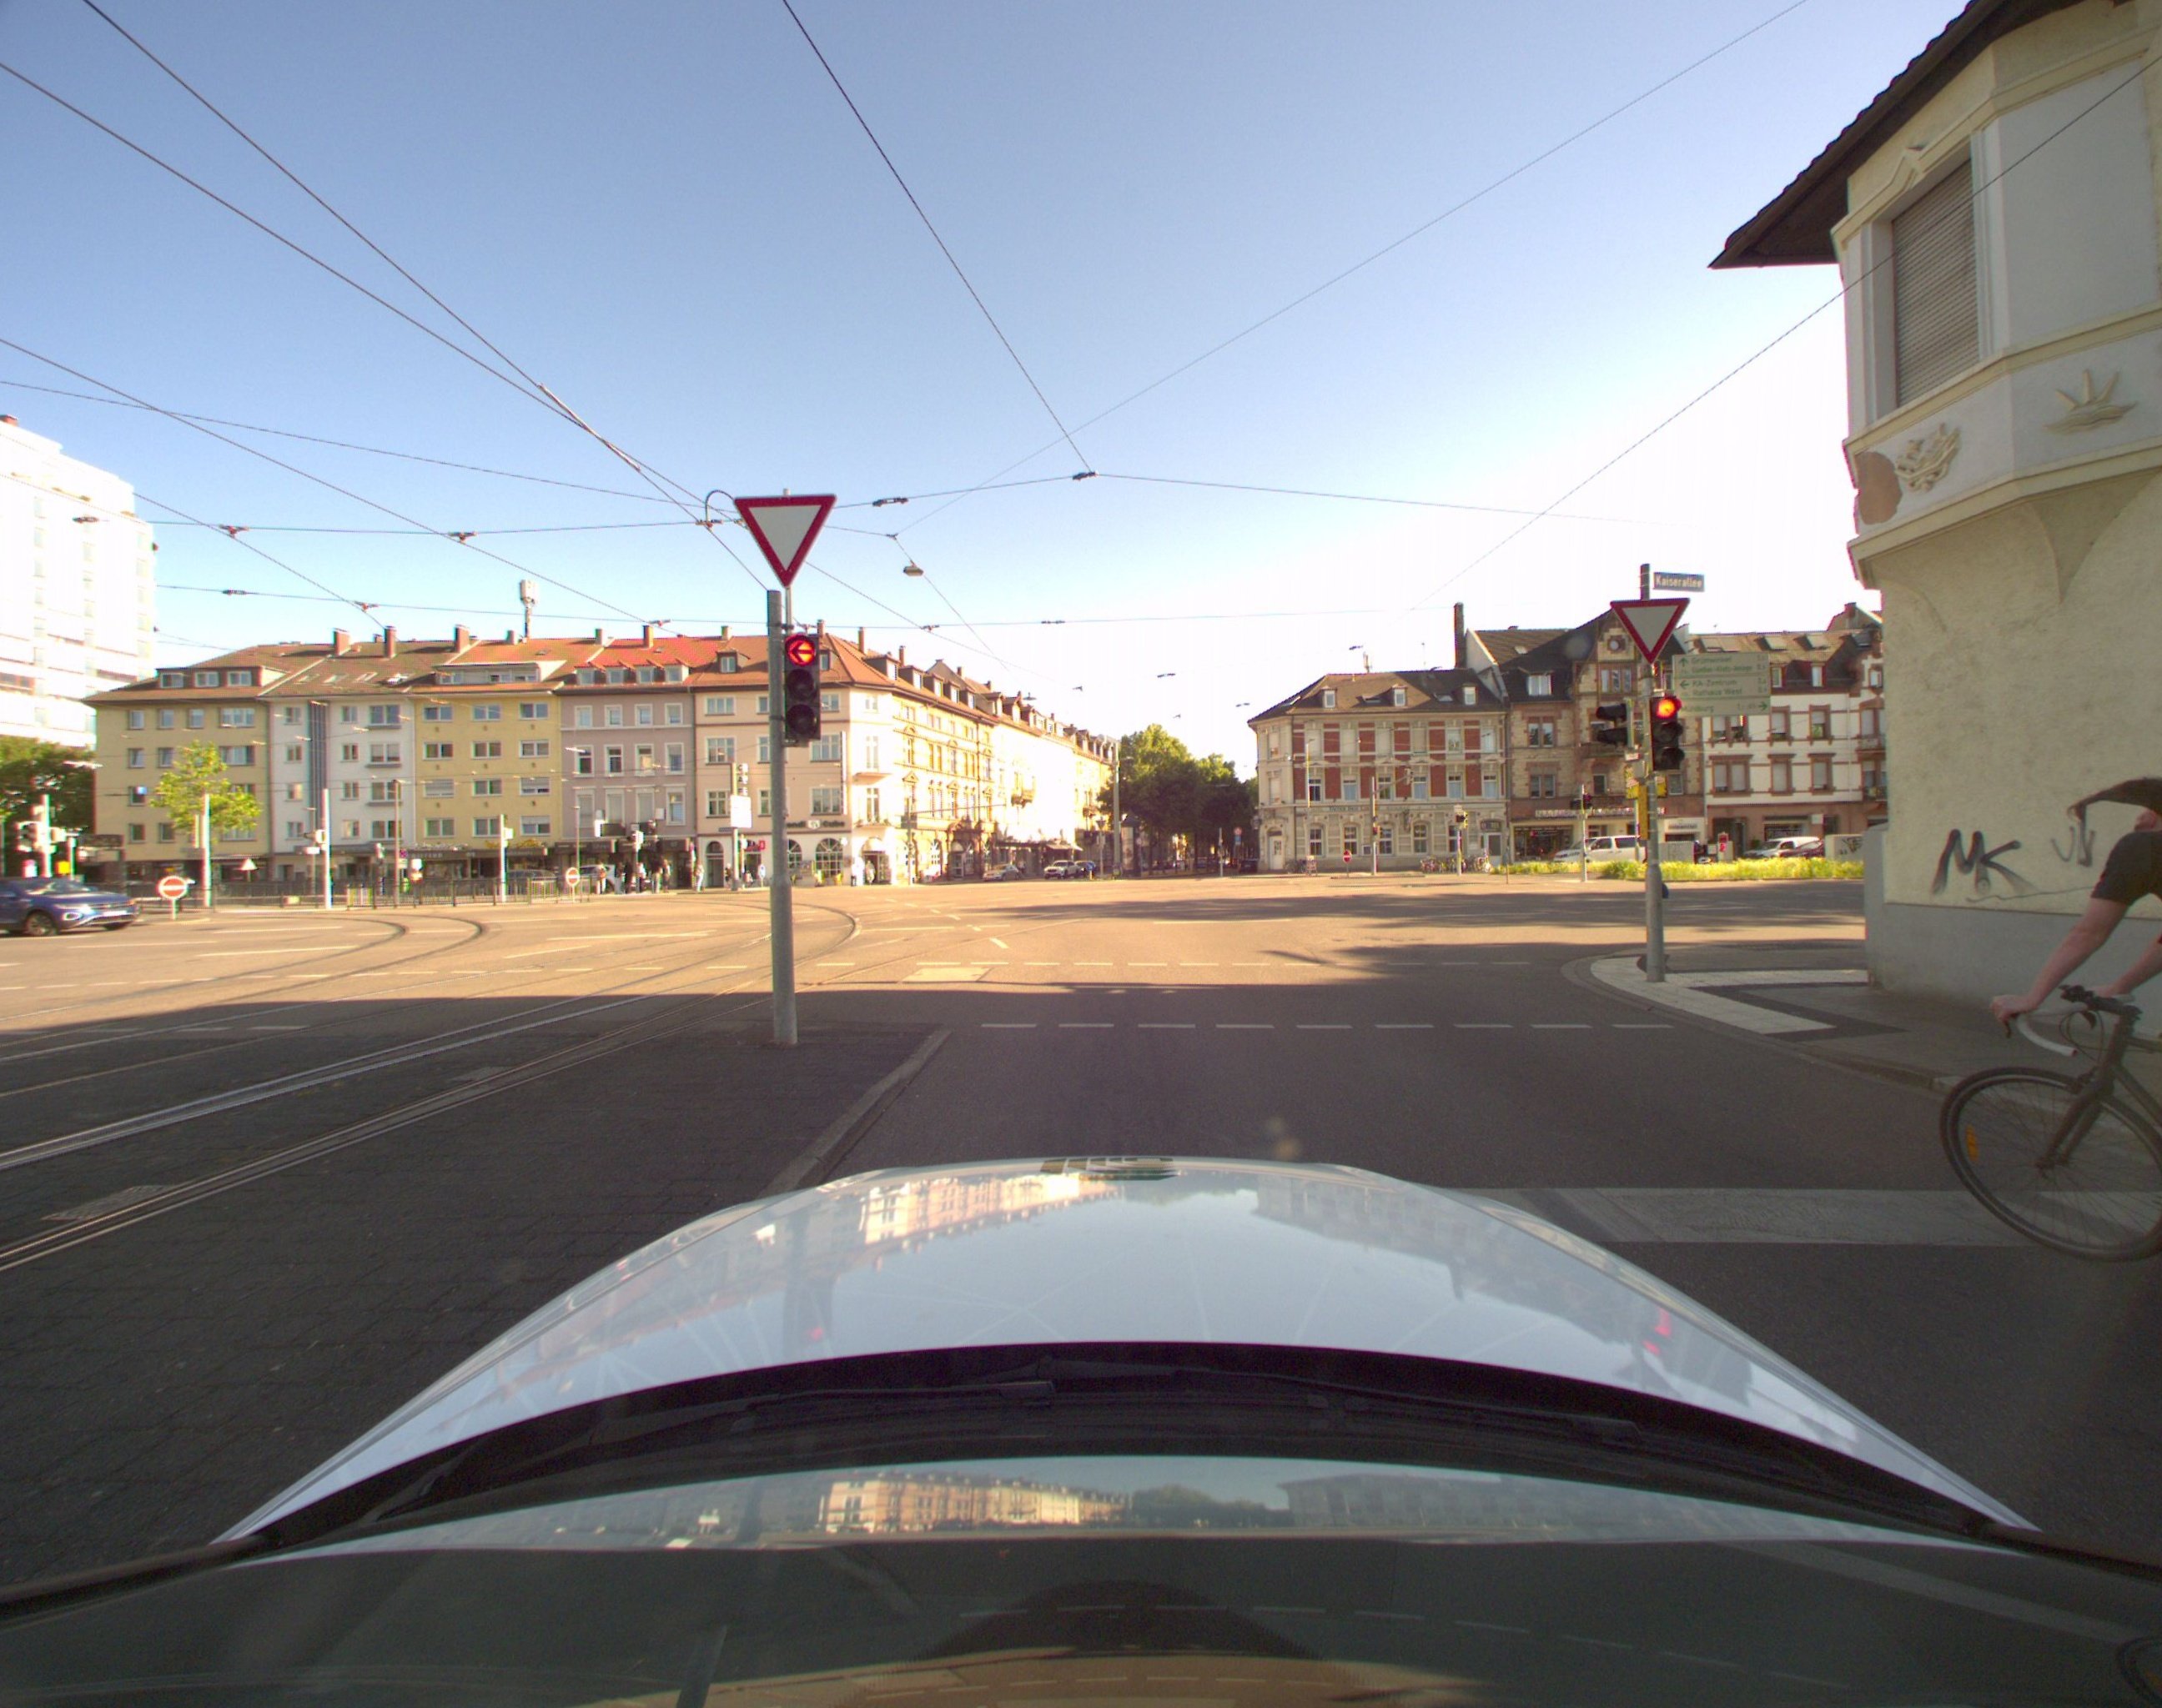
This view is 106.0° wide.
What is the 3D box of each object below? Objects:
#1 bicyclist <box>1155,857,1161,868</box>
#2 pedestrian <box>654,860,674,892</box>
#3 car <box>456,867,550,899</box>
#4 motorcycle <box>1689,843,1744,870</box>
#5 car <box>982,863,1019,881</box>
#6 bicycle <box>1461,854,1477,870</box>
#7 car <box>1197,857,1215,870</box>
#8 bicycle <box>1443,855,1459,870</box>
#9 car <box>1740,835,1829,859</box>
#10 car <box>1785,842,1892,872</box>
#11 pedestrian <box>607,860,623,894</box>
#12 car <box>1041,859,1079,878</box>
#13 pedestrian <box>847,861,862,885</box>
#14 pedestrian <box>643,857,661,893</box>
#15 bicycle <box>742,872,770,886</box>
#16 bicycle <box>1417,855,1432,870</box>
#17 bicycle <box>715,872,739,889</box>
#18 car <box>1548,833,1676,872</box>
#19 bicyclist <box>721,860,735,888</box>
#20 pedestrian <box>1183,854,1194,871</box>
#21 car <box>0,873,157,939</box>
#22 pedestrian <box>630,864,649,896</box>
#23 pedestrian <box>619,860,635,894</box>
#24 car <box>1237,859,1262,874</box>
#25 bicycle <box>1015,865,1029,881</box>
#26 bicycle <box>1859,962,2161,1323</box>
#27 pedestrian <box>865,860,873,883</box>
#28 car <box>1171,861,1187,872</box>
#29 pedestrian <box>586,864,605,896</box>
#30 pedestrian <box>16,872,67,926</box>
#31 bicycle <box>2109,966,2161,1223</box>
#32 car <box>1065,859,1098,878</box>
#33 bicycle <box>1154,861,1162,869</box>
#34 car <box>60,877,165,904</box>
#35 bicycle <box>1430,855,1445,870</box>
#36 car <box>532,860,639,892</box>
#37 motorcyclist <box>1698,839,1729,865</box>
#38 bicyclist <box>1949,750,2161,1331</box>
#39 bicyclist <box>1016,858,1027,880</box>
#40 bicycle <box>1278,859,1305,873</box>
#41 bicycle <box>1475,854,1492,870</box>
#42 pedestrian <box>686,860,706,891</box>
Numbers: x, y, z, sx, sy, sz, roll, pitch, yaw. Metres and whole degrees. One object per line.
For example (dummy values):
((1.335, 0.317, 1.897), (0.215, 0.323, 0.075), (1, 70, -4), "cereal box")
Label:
((11.004, 1.168, 115.756), (0.668, 1.568, 0.751), (-1, -1, 20), "bicyclist")
((-21.547, 1.113, 42.055), (0.580, 1.648, 0.840), (0, -1, 1), "pedestrian")
((-33.887, 1.677, 47.836), (4.213, 1.773, 1.818), (0, -1, 1), "car")
((32.389, 0.123, 41.512), (2.124, 1.333, 0.798), (0, -1, 6), "motorcycle")
((-6.610, 1.475, 67.389), (1.647, 1.374, 3.909), (-1, -1, 17), "car")
((25.165, 0.539, 52.822), (0.758, 1.007, 2.231), (-1, -1, 20), "bicycle")
((17.875, 1.350, 116.379), (1.978, 1.684, 4.018), (-1, -1, 17), "car")
((24.046, 0.561, 52.977), (0.758, 0.983, 2.221), (-1, -1, 20), "bicycle")
((45.155, -0.446, 52.341), (3.961, 1.438, 1.874), (0, -1, 5), "car")
((37.949, 0.135, 40.845), (3.854, 1.426, 1.596), (-1, 0, 2), "car")
((-23.187, 1.144, 40.536), (0.520, 1.648, 0.498), (0, -1, 1), "pedestrian")
((-1.683, 1.179, 67.485), (1.788, 1.585, 4.179), (-1, -1, 19), "car")
((-15.449, 1.297, 55.560), (0.562, 1.642, 0.797), (-1, -1, 25), "pedestrian")
((-21.592, 1.045, 40.967), (0.525, 1.823, 0.677), (0, -1, 1), "pedestrian")
((-22.989, 1.756, 57.609), (1.694, 0.983, 0.611), (0, -1, 1), "bicycle")
((22.504, 0.575, 53.367), (0.758, 0.963, 2.221), (-1, -1, 20), "bicycle")
((-22.983, 1.699, 52.935), (0.618, 1.030, 1.758), (0, -1, 7), "bicycle")
((27.162, -0.088, 41.793), (5.176, 1.854, 2.002), (-1, 0, 3), "car")
((-22.973, 1.307, 53.045), (0.618, 1.790, 0.616), (0, -1, 7), "bicyclist")
((13.329, 1.049, 101.194), (0.966, 2.014, 0.911), (0, -1, -25), "pedestrian")
((-27.577, 1.354, 21.502), (4.173, 1.575, 1.830), (-1, 0, -1), "car")
((-22.928, 1.325, 42.329), (0.571, 1.648, 0.727), (0, -1, 1), "pedestrian")
((-22.572, 1.139, 40.493), (0.520, 1.648, 0.498), (0, -1, 1), "pedestrian")
((17.086, 1.254, 82.234), (1.741, 1.556, 4.021), (-1, -1, 22), "car")
((-4.759, 1.488, 65.401), (0.561, 1.254, 1.564), (-1, -1, 17), "bicycle")
((3.590, 0.958, 2.633), (0.480, 0.991, 1.783), (0, -1, 2), "bicycle")
((-15.141, 1.250, 58.202), (0.588, 1.676, 0.495), (0, -1, -16), "pedestrian")
((14.712, 1.825, 122.056), (1.788, 1.575, 3.908), (-1, -1, 17), "car")
((-25.090, 1.330, 42.061), (0.582, 1.648, 0.616), (0, -1, 1), "pedestrian")
((-31.827, 1.365, 24.943), (0.606, 1.609, 0.769), (-1, -1, 16), "pedestrian")
((4.460, 0.947, 2.453), (0.501, 0.983, 1.783), (0, -1, 2), "bicycle")
((0.068, 1.290, 73.782), (1.809, 1.685, 3.893), (-1, -1, 18), "car")
((11.007, 1.574, 115.749), (0.668, 1.207, 1.831), (-1, -1, 20), "bicycle")
((-53.895, 2.011, 45.362), (3.777, 1.403, 1.699), (0, -1, -1), "car")
((23.259, 0.568, 53.101), (0.758, 0.968, 2.221), (-1, -1, 20), "bicycle")
((-27.397, 1.202, 45.145), (4.665, 1.734, 1.833), (0, -1, -5), "car")
((32.247, -0.116, 41.531), (1.009, 1.300, 0.790), (0, -1, 6), "motorcyclist")
((3.585, 0.568, 2.611), (0.587, 1.767, 0.936), (0, -1, 2), "bicyclist")
((-4.767, 1.213, 65.412), (0.561, 1.804, 0.918), (-1, -1, 17), "bicyclist")
((14.707, 0.827, 56.927), (1.789, 0.963, 0.606), (-1, -1, 16), "bicycle")
((26.024, 0.531, 52.686), (0.785, 1.016, 2.221), (-1, -1, 20), "bicycle")
((-19.839, 1.105, 41.966), (0.666, 1.594, 0.815), (0, -1, 1), "pedestrian")
